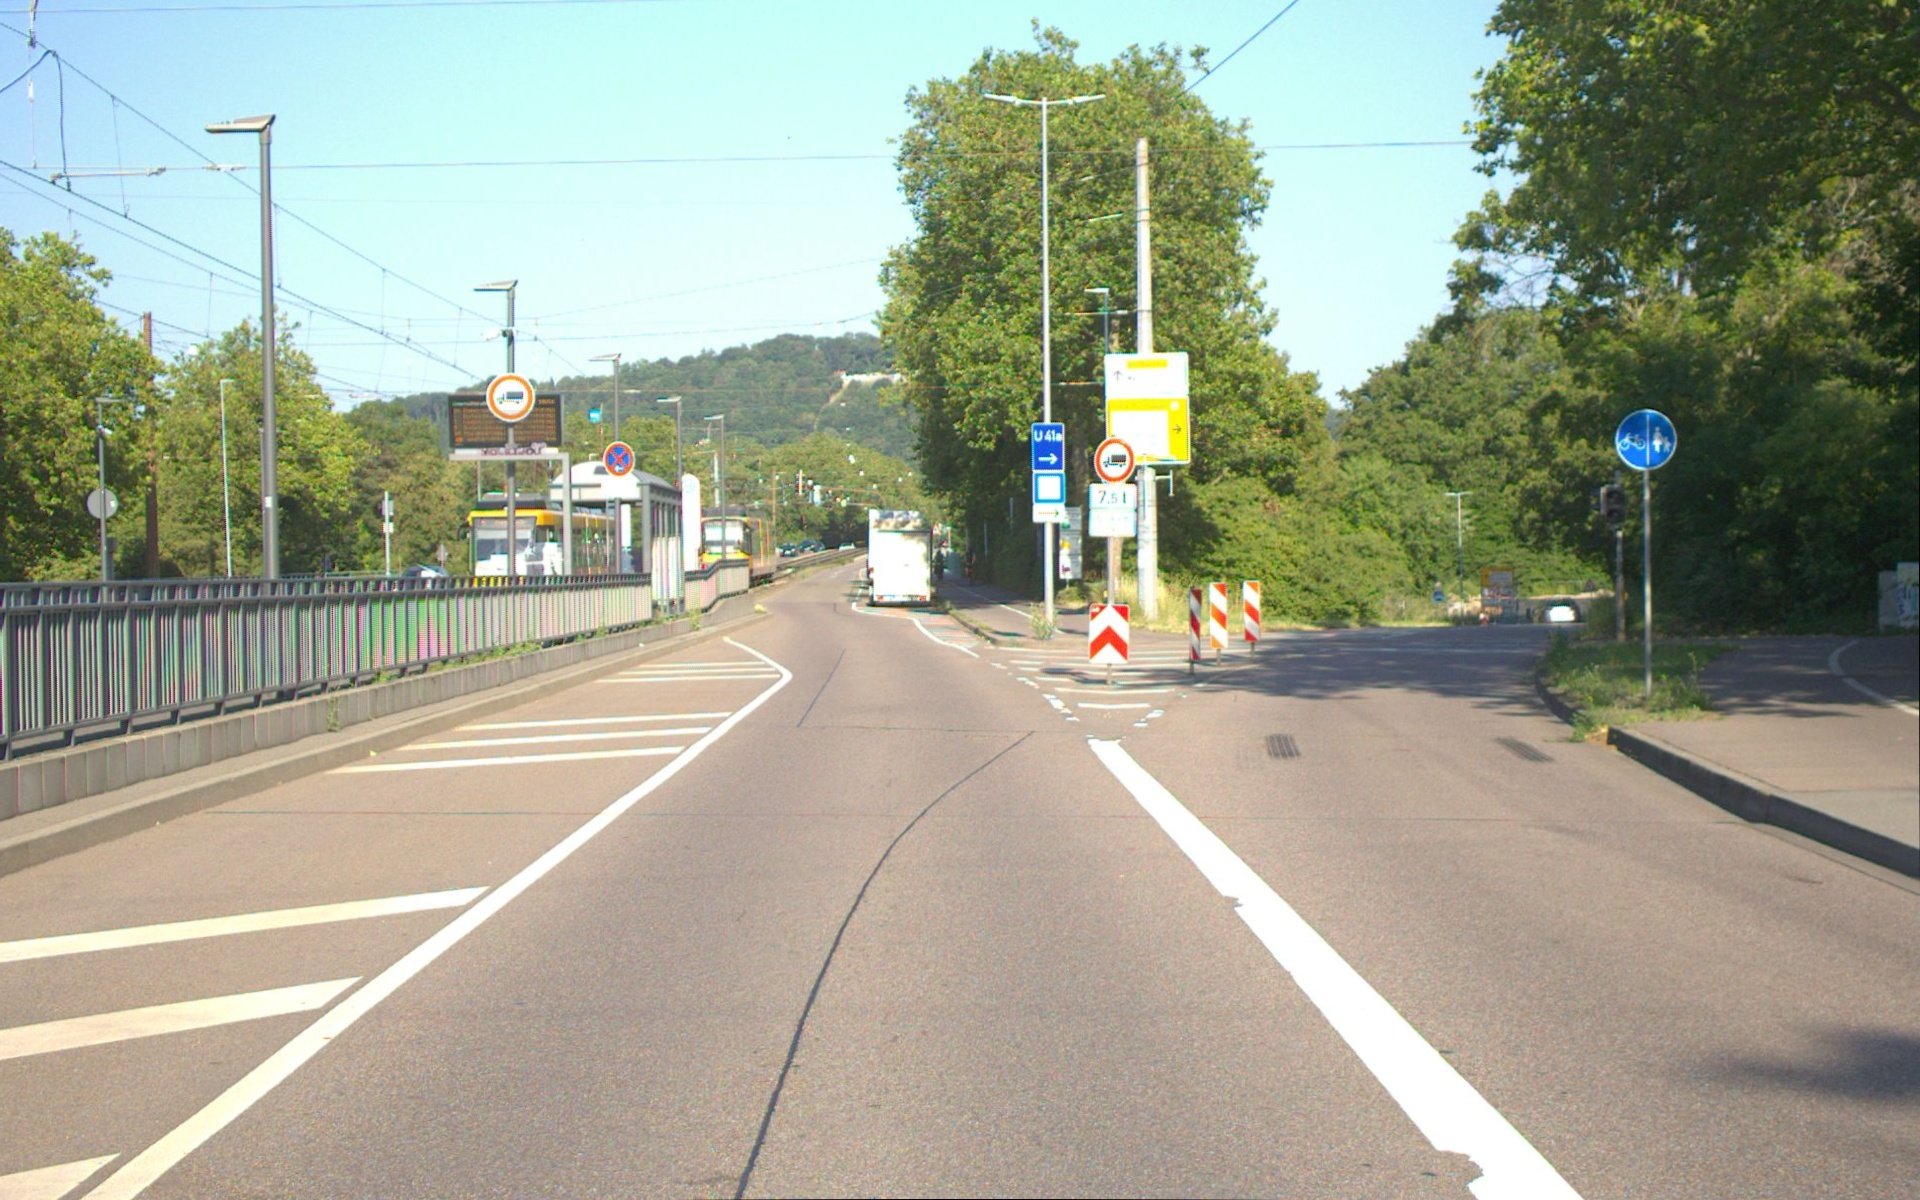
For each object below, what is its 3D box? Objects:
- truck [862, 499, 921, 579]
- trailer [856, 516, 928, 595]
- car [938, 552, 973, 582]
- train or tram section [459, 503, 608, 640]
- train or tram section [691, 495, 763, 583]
[{"bbox_3d":[-3.403,-2.996,168.445,2.741,3.770,10.090,1,1,-2],"label":"truck"},{"bbox_3d":[-2.354,-1.576,120.673,2.251,2.685,5.947,0,1,2],"label":"trailer"},{"bbox_3d":[-0.203,-1.571,163.634,1.653,1.432,3.777,0,1,0],"label":"car"},{"bbox_3d":[-13.313,-0.924,108.666,2.827,3.992,15.875,0,1,0],"label":"train or tram section"},{"bbox_3d":[-11.342,-2.976,168.608,2.721,4.077,13.616,-2,1,-1],"label":"train or tram section"}]
